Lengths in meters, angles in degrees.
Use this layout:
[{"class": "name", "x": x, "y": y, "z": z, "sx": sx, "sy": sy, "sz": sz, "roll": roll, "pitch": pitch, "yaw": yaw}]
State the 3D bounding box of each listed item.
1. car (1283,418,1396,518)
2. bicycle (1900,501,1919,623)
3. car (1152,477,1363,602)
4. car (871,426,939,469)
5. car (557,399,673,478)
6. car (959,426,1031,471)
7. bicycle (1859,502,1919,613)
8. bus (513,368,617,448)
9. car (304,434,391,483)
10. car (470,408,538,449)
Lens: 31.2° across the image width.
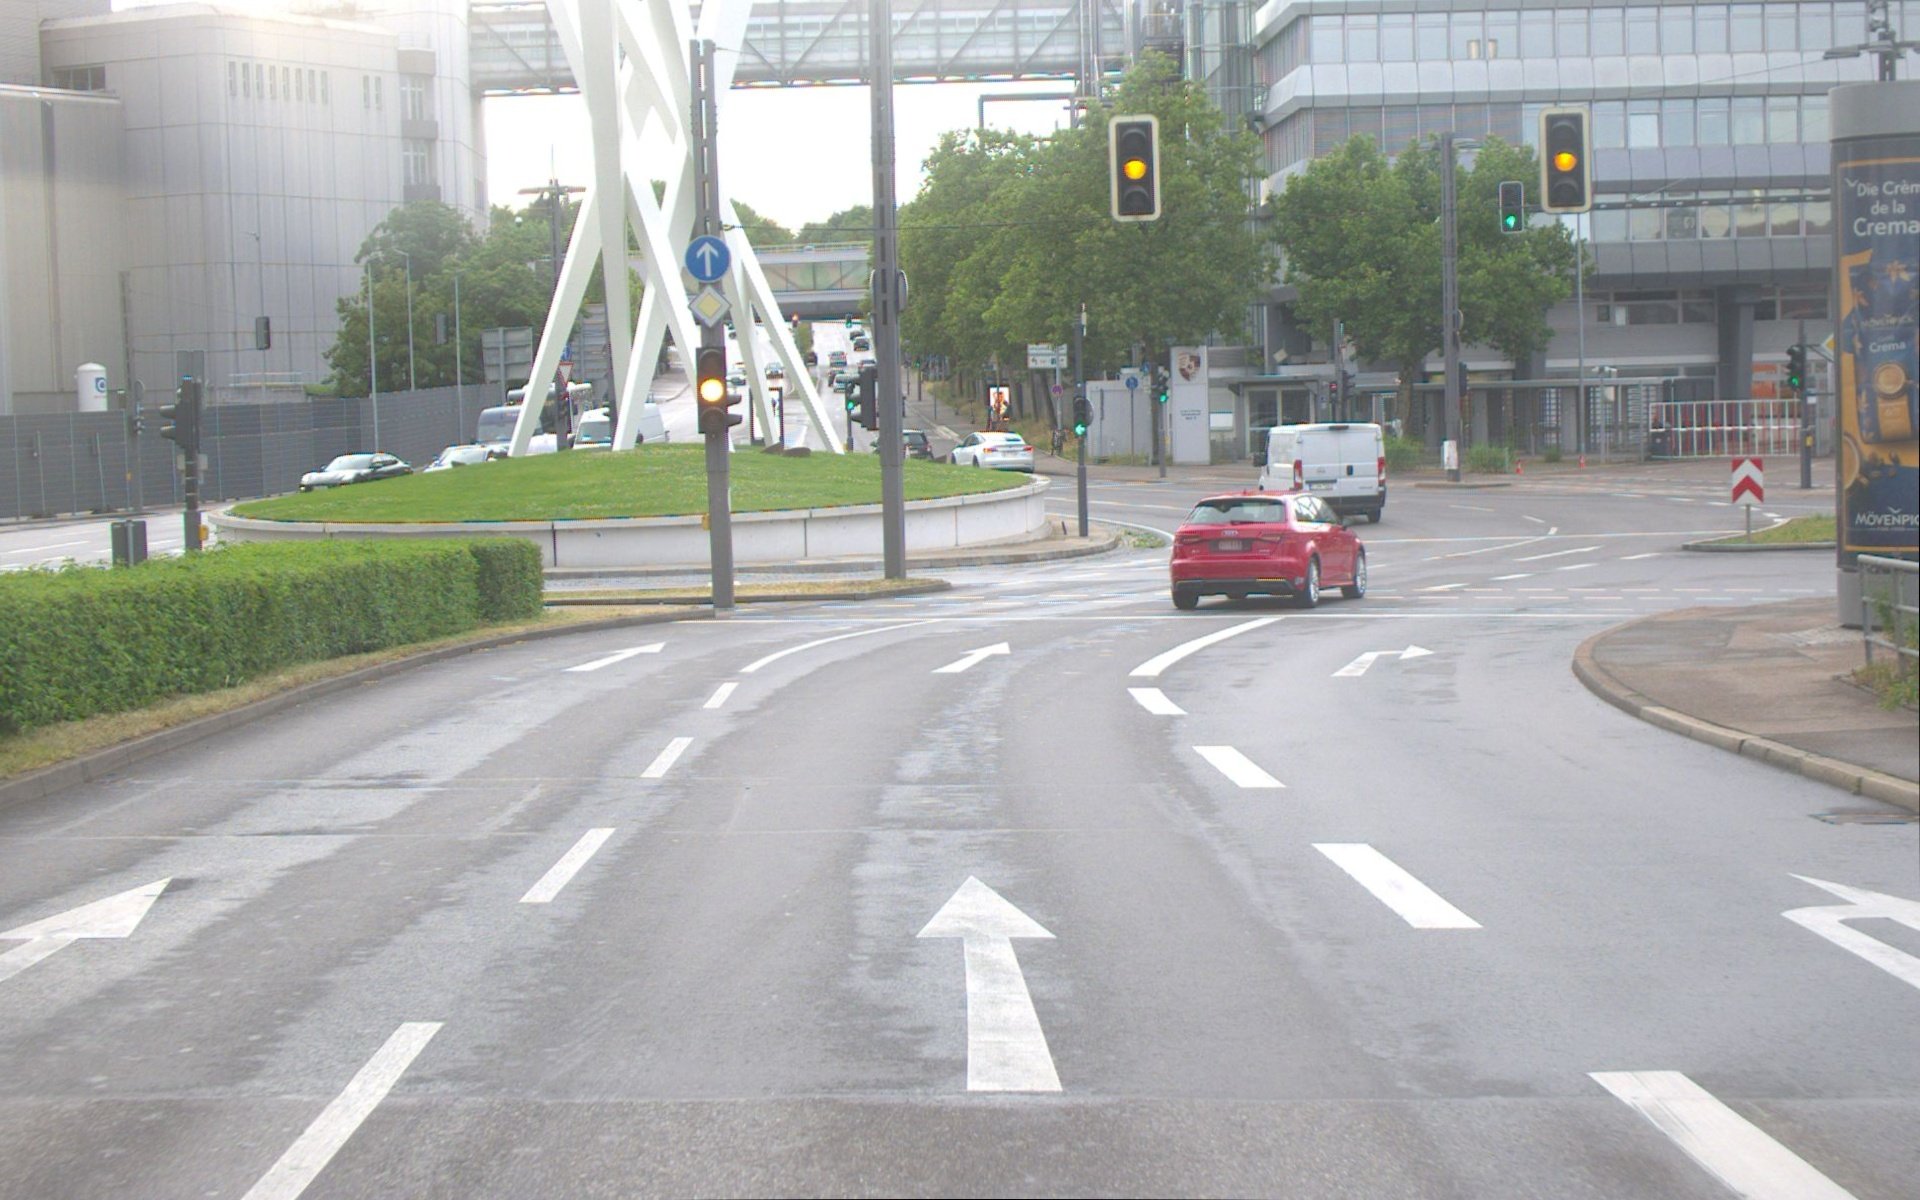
[{"class": "car", "x": 8.441, "y": -2.920, "z": 76.870, "sx": 2.233, "sy": 2.100, "sz": 4.954, "roll": -1, "pitch": 1, "yaw": 3}, {"class": "bicycle", "x": 9.981, "y": -0.394, "z": 32.874, "sx": 1.800, "sy": 1.157, "sz": 0.592, "roll": -2, "pitch": 1, "yaw": 2}, {"class": "car", "x": 3.735, "y": -0.773, "z": 42.607, "sx": 1.774, "sy": 1.459, "sz": 3.729, "roll": -1, "pitch": 1, "yaw": 18}, {"class": "car", "x": -1.757, "y": -4.834, "z": 109.171, "sx": 1.556, "sy": 1.284, "sz": 3.415, "roll": -1, "pitch": 1, "yaw": -11}, {"class": "car", "x": -11.172, "y": -5.242, "z": 111.635, "sx": 1.995, "sy": 2.438, "sz": 5.424, "roll": -1, "pitch": 3, "yaw": 14}, {"class": "car", "x": 1.092, "y": -4.805, "z": 109.299, "sx": 1.667, "sy": 1.296, "sz": 3.887, "roll": -1, "pitch": 1, "yaw": -8}, {"class": "bicycle", "x": 10.265, "y": -0.451, "z": 35.584, "sx": 1.770, "sy": 1.136, "sz": 0.678, "roll": -1, "pitch": 1, "yaw": 7}, {"class": "bus", "x": -16.452, "y": -7.962, "z": 144.030, "sx": 2.669, "sy": 3.189, "sz": 12.671, "roll": -1, "pitch": 2, "yaw": 1}, {"class": "car", "x": -19.209, "y": -4.444, "z": 107.997, "sx": 1.833, "sy": 1.467, "sz": 4.514, "roll": -1, "pitch": 2, "yaw": 1}, {"class": "car", "x": -16.957, "y": -6.376, "z": 127.981, "sx": 1.833, "sy": 1.467, "sz": 4.514, "roll": -1, "pitch": 2, "yaw": 1}]
